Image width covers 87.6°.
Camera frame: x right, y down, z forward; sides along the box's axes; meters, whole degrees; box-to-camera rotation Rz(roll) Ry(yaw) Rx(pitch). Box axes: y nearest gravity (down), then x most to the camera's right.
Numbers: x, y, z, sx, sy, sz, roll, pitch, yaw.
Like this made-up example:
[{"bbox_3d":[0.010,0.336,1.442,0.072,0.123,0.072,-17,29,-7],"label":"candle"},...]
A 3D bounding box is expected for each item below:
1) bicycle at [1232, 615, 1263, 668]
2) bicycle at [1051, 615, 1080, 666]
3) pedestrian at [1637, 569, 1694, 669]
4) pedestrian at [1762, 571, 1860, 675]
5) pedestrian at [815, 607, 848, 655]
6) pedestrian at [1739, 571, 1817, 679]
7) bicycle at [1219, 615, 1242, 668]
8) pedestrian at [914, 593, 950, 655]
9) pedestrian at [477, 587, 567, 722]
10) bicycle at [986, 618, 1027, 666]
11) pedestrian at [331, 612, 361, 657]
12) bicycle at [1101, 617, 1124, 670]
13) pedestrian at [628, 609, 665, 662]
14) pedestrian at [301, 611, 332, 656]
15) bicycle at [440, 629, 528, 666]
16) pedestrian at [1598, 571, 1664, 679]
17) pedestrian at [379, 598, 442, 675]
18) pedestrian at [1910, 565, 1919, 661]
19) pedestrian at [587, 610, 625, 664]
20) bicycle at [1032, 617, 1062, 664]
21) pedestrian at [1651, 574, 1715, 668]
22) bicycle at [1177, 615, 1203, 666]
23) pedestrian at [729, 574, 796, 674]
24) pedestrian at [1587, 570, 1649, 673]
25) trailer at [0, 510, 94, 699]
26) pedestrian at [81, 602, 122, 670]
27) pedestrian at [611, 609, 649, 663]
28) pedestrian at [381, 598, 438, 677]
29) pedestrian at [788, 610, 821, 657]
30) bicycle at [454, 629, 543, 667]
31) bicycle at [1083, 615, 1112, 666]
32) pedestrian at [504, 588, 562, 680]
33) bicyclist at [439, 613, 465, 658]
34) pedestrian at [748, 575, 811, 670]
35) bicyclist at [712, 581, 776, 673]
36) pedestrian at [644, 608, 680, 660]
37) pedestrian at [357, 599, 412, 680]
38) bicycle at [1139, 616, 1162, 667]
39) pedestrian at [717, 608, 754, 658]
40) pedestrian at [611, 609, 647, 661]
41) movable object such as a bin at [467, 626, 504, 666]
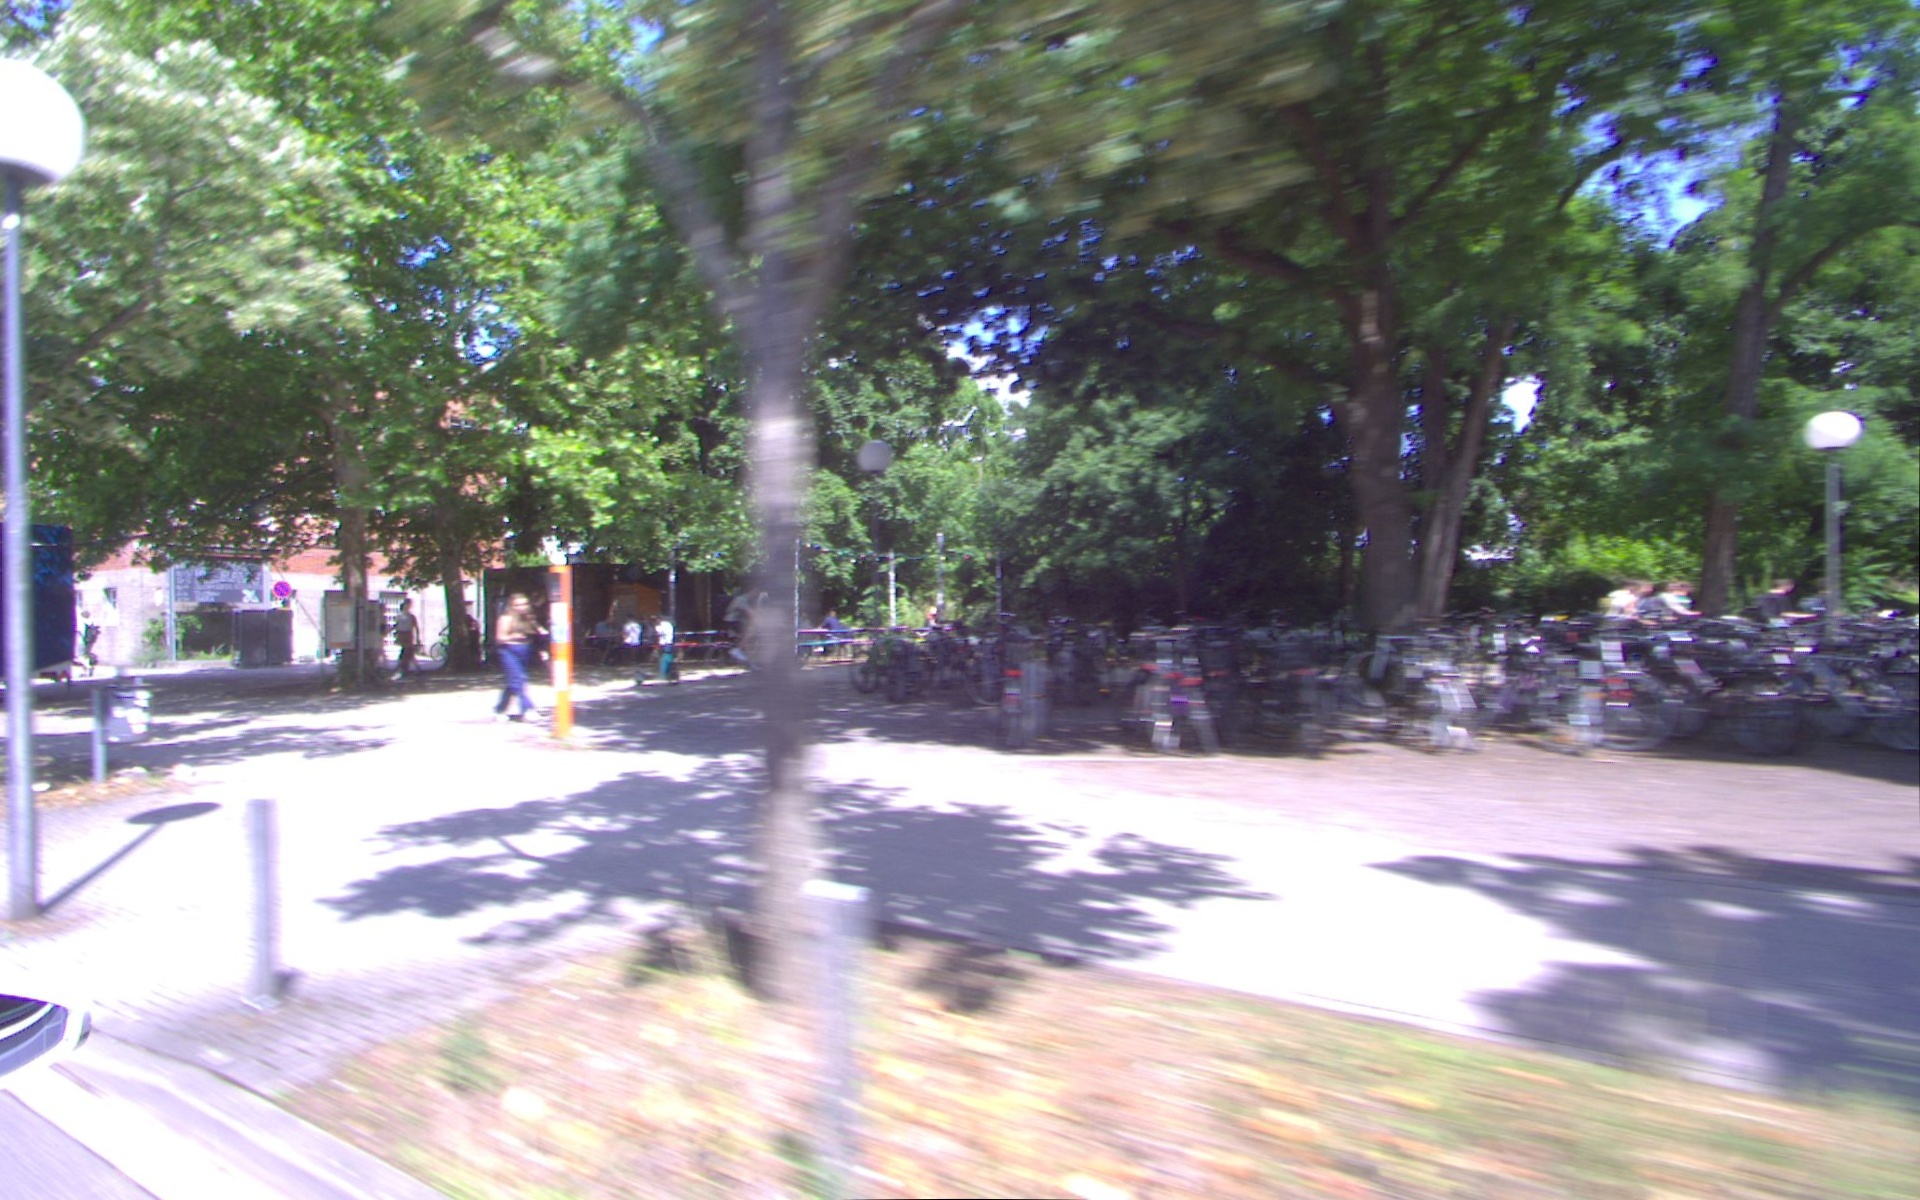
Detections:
[{"bbox_3d":[6.175,0.868,21.545,0.469,1.053,1.752,-1,0,10],"label":"bicycle"},{"bbox_3d":[2.379,0.891,22.479,0.427,1.053,1.958,-1,0,12],"label":"bicycle"},{"bbox_3d":[12.950,0.342,18.405,0.709,1.798,0.742,0,1,24],"label":"pedestrian"},{"bbox_3d":[15.147,0.396,17.863,0.954,1.798,0.963,0,0,10],"label":"pedestrian"},{"bbox_3d":[-3.560,0.843,27.814,0.612,1.289,0.665,0,3,27],"label":"pedestrian"},{"bbox_3d":[13.962,0.416,17.111,0.707,1.798,0.745,0,0,1],"label":"pedestrian"},{"bbox_3d":[5.828,0.873,21.609,0.341,1.053,1.752,-1,0,10],"label":"bicycle"},{"bbox_3d":[-0.737,0.632,26.874,0.707,1.604,0.665,0,3,27],"label":"pedestrian"},{"bbox_3d":[-5.371,0.645,12.272,0.914,1.592,0.567,0,1,32],"label":"pedestrian"},{"bbox_3d":[1.063,0.916,22.511,0.601,0.992,1.958,-1,0,12],"label":"bicycle"},{"bbox_3d":[-22.515,1.251,36.728,0.669,1.628,0.657,-1,0,17],"label":"pedestrian"},{"bbox_3d":[3.312,0.922,21.621,0.426,1.053,1.783,-1,0,10],"label":"bicycle"},{"bbox_3d":[-8.347,0.944,26.691,0.718,1.365,0.568,0,3,27],"label":"pedestrian"},{"bbox_3d":[-23.369,1.206,36.349,0.669,1.628,0.657,-1,0,17],"label":"pedestrian"},{"bbox_3d":[-14.919,1.460,31.426,0.775,1.085,2.382,-2,-1,44],"label":"bicycle"},{"bbox_3d":[11.460,0.425,17.130,0.707,1.798,0.744,0,0,13],"label":"pedestrian"},{"bbox_3d":[-13.040,0.850,23.781,0.904,1.798,0.958,0,0,24],"label":"pedestrian"},{"bbox_3d":[18.310,0.238,18.550,0.707,1.798,0.744,0,0,-8],"label":"pedestrian"},{"bbox_3d":[-9.394,0.969,26.558,0.718,1.365,0.568,0,3,27],"label":"pedestrian"},{"bbox_3d":[1.983,0.892,22.681,0.430,0.992,1.958,-1,0,12],"label":"bicycle"},{"bbox_3d":[14.064,0.403,19.492,0.707,1.798,0.744,0,0,6],"label":"pedestrian"},{"bbox_3d":[5.065,0.871,22.073,0.469,1.053,1.831,-1,0,10],"label":"bicycle"},{"bbox_3d":[-4.000,0.482,20.361,1.058,1.975,0.834,-1,2,11],"label":"pedestrian"},{"bbox_3d":[11.780,0.372,17.950,0.707,1.798,0.744,0,0,14],"label":"pedestrian"},{"bbox_3d":[-18.479,0.122,17.903,6.165,3.092,2.687,-1,0,31],"label":"trailer"},{"bbox_3d":[-23.417,0.971,27.306,0.716,1.822,0.594,1,3,28],"label":"pedestrian"},{"bbox_3d":[-8.615,0.933,26.175,0.718,1.365,0.568,0,3,27],"label":"pedestrian"},{"bbox_3d":[-11.973,0.799,21.775,0.812,1.683,0.763,-1,0,32],"label":"pedestrian"},{"bbox_3d":[-4.363,0.934,28.115,0.612,1.289,0.665,0,3,27],"label":"pedestrian"},{"bbox_3d":[-14.198,1.464,30.879,0.773,1.085,2.387,-1,-1,38],"label":"bicycle"},{"bbox_3d":[3.105,0.889,22.461,0.469,1.053,1.958,-1,0,12],"label":"bicycle"},{"bbox_3d":[-8.927,0.694,20.953,0.812,1.879,0.763,-1,0,32],"label":"pedestrian"},{"bbox_3d":[-18.938,1.317,37.307,0.609,1.628,0.659,0,-1,4],"label":"bicyclist"},{"bbox_3d":[-3.825,0.473,21.267,1.058,1.975,0.834,-1,2,11],"label":"pedestrian"},{"bbox_3d":[-4.185,0.517,19.418,1.058,1.753,0.531,-1,2,12],"label":"bicyclist"},{"bbox_3d":[-8.086,0.922,27.207,0.718,1.365,0.568,0,3,27],"label":"pedestrian"},{"bbox_3d":[-12.220,0.820,21.270,0.777,1.683,0.696,-1,0,32],"label":"pedestrian"},{"bbox_3d":[4.199,0.890,22.079,0.469,1.053,1.783,-1,0,10],"label":"bicycle"},{"bbox_3d":[-6.300,0.914,28.131,0.708,1.365,0.665,0,3,27],"label":"pedestrian"},{"bbox_3d":[-9.018,0.938,27.277,0.718,1.365,0.568,0,3,27],"label":"pedestrian"},{"bbox_3d":[-13.032,1.260,27.486,0.732,1.084,0.598,-3,-2,32],"label":"movable object such as a bin"}]
